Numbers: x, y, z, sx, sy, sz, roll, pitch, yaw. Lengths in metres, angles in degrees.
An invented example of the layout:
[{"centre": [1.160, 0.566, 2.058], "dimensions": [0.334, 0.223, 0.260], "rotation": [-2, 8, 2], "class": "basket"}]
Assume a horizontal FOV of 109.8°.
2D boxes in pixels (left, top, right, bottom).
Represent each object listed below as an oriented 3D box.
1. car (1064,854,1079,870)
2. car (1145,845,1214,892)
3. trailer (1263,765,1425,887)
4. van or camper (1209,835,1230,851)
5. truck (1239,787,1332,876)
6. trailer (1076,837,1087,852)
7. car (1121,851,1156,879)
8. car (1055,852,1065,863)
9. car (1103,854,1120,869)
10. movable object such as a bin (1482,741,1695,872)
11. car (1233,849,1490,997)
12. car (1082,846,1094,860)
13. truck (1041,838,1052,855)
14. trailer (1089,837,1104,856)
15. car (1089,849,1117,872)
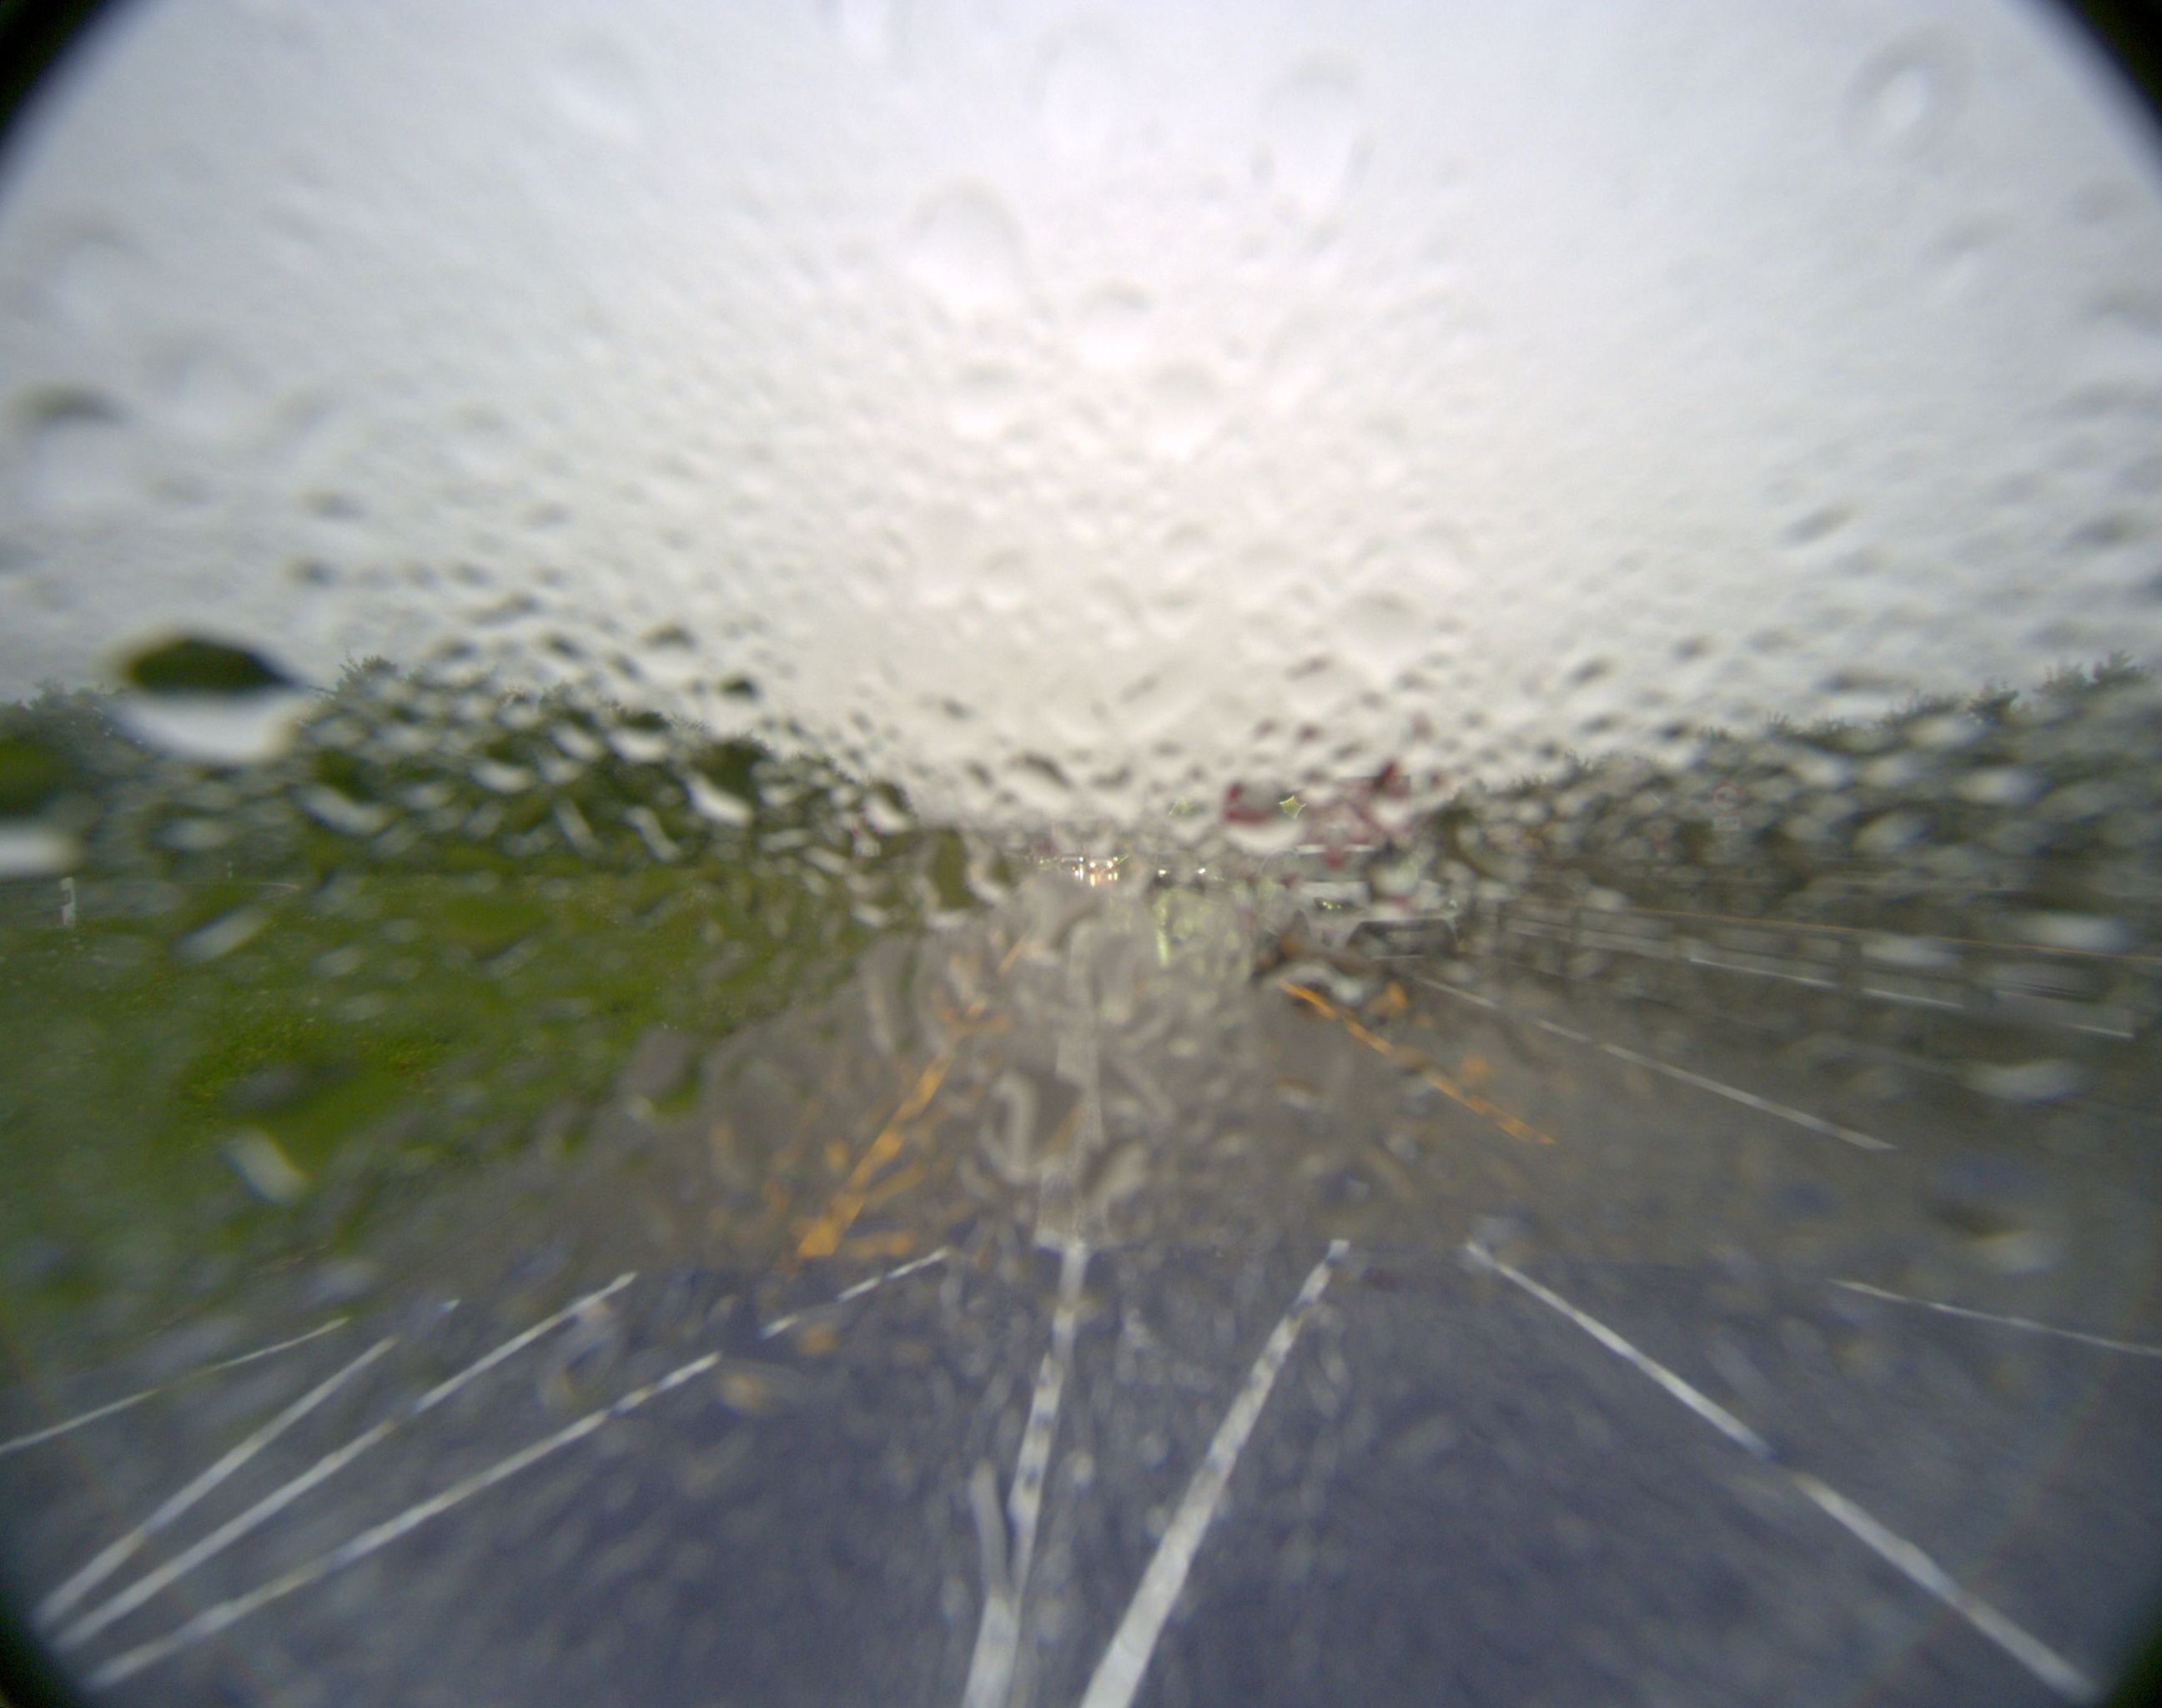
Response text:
[{"centre": [-1.030, 0.887, 86.638], "dimensions": [1.673, 1.804, 3.999], "rotation": [-1, 1, 0], "class": "car"}, {"centre": [3.697, 0.496, 29.425], "dimensions": [2.069, 1.618, 5.195], "rotation": [-2, 1, 2], "class": "car"}, {"centre": [10.610, -1.040, 32.318], "dimensions": [2.983, 4.270, 11.057], "rotation": [-1, 1, -1], "class": "trailer"}, {"centre": [38.232, -3.061, 209.802], "dimensions": [3.376, 4.299, 8.502], "rotation": [-3, 1, -4], "class": "van or camper"}, {"centre": [10.520, -1.127, 39.794], "dimensions": [3.015, 4.247, 6.799], "rotation": [-1, 1, 0], "class": "truck"}, {"centre": [0.014, -2.765, 212.591], "dimensions": [2.501, 4.027, 12.580], "rotation": [-1, 2, -2], "class": "trailer"}, {"centre": [3.430, 0.616, 46.136], "dimensions": [1.792, 1.481, 3.999], "rotation": [-3, 1, 1], "class": "car"}, {"centre": [-3.607, 0.556, 129.996], "dimensions": [1.674, 1.804, 3.998], "rotation": [-1, 1, -4], "class": "car"}, {"centre": [3.170, 0.787, 79.914], "dimensions": [1.589, 1.528, 3.831], "rotation": [-1, 1, 0], "class": "car"}, {"centre": [26.336, -2.266, 40.600], "dimensions": [4.181, 5.881, 11.044], "rotation": [-3, 1, 2], "class": "movable object such as a bin"}, {"centre": [3.596, 0.749, 10.890], "dimensions": [1.932, 1.542, 5.006], "rotation": [-2, 1, 2], "class": "car"}, {"centre": [1.050, -0.159, 115.197], "dimensions": [1.766, 2.002, 3.999], "rotation": [-3, 1, 0], "class": "car"}, {"centre": [-8.557, -1.989, 191.277], "dimensions": [2.507, 4.067, 15.195], "rotation": [-3, 1, -2], "class": "truck"}, {"centre": [3.456, -1.670, 173.971], "dimensions": [2.915, 4.065, 12.218], "rotation": [-1, 0, -1], "class": "trailer"}, {"centre": [1.776, 0.501, 62.506], "dimensions": [1.882, 1.772, 3.998], "rotation": [-1, 1, -4], "class": "car"}]
